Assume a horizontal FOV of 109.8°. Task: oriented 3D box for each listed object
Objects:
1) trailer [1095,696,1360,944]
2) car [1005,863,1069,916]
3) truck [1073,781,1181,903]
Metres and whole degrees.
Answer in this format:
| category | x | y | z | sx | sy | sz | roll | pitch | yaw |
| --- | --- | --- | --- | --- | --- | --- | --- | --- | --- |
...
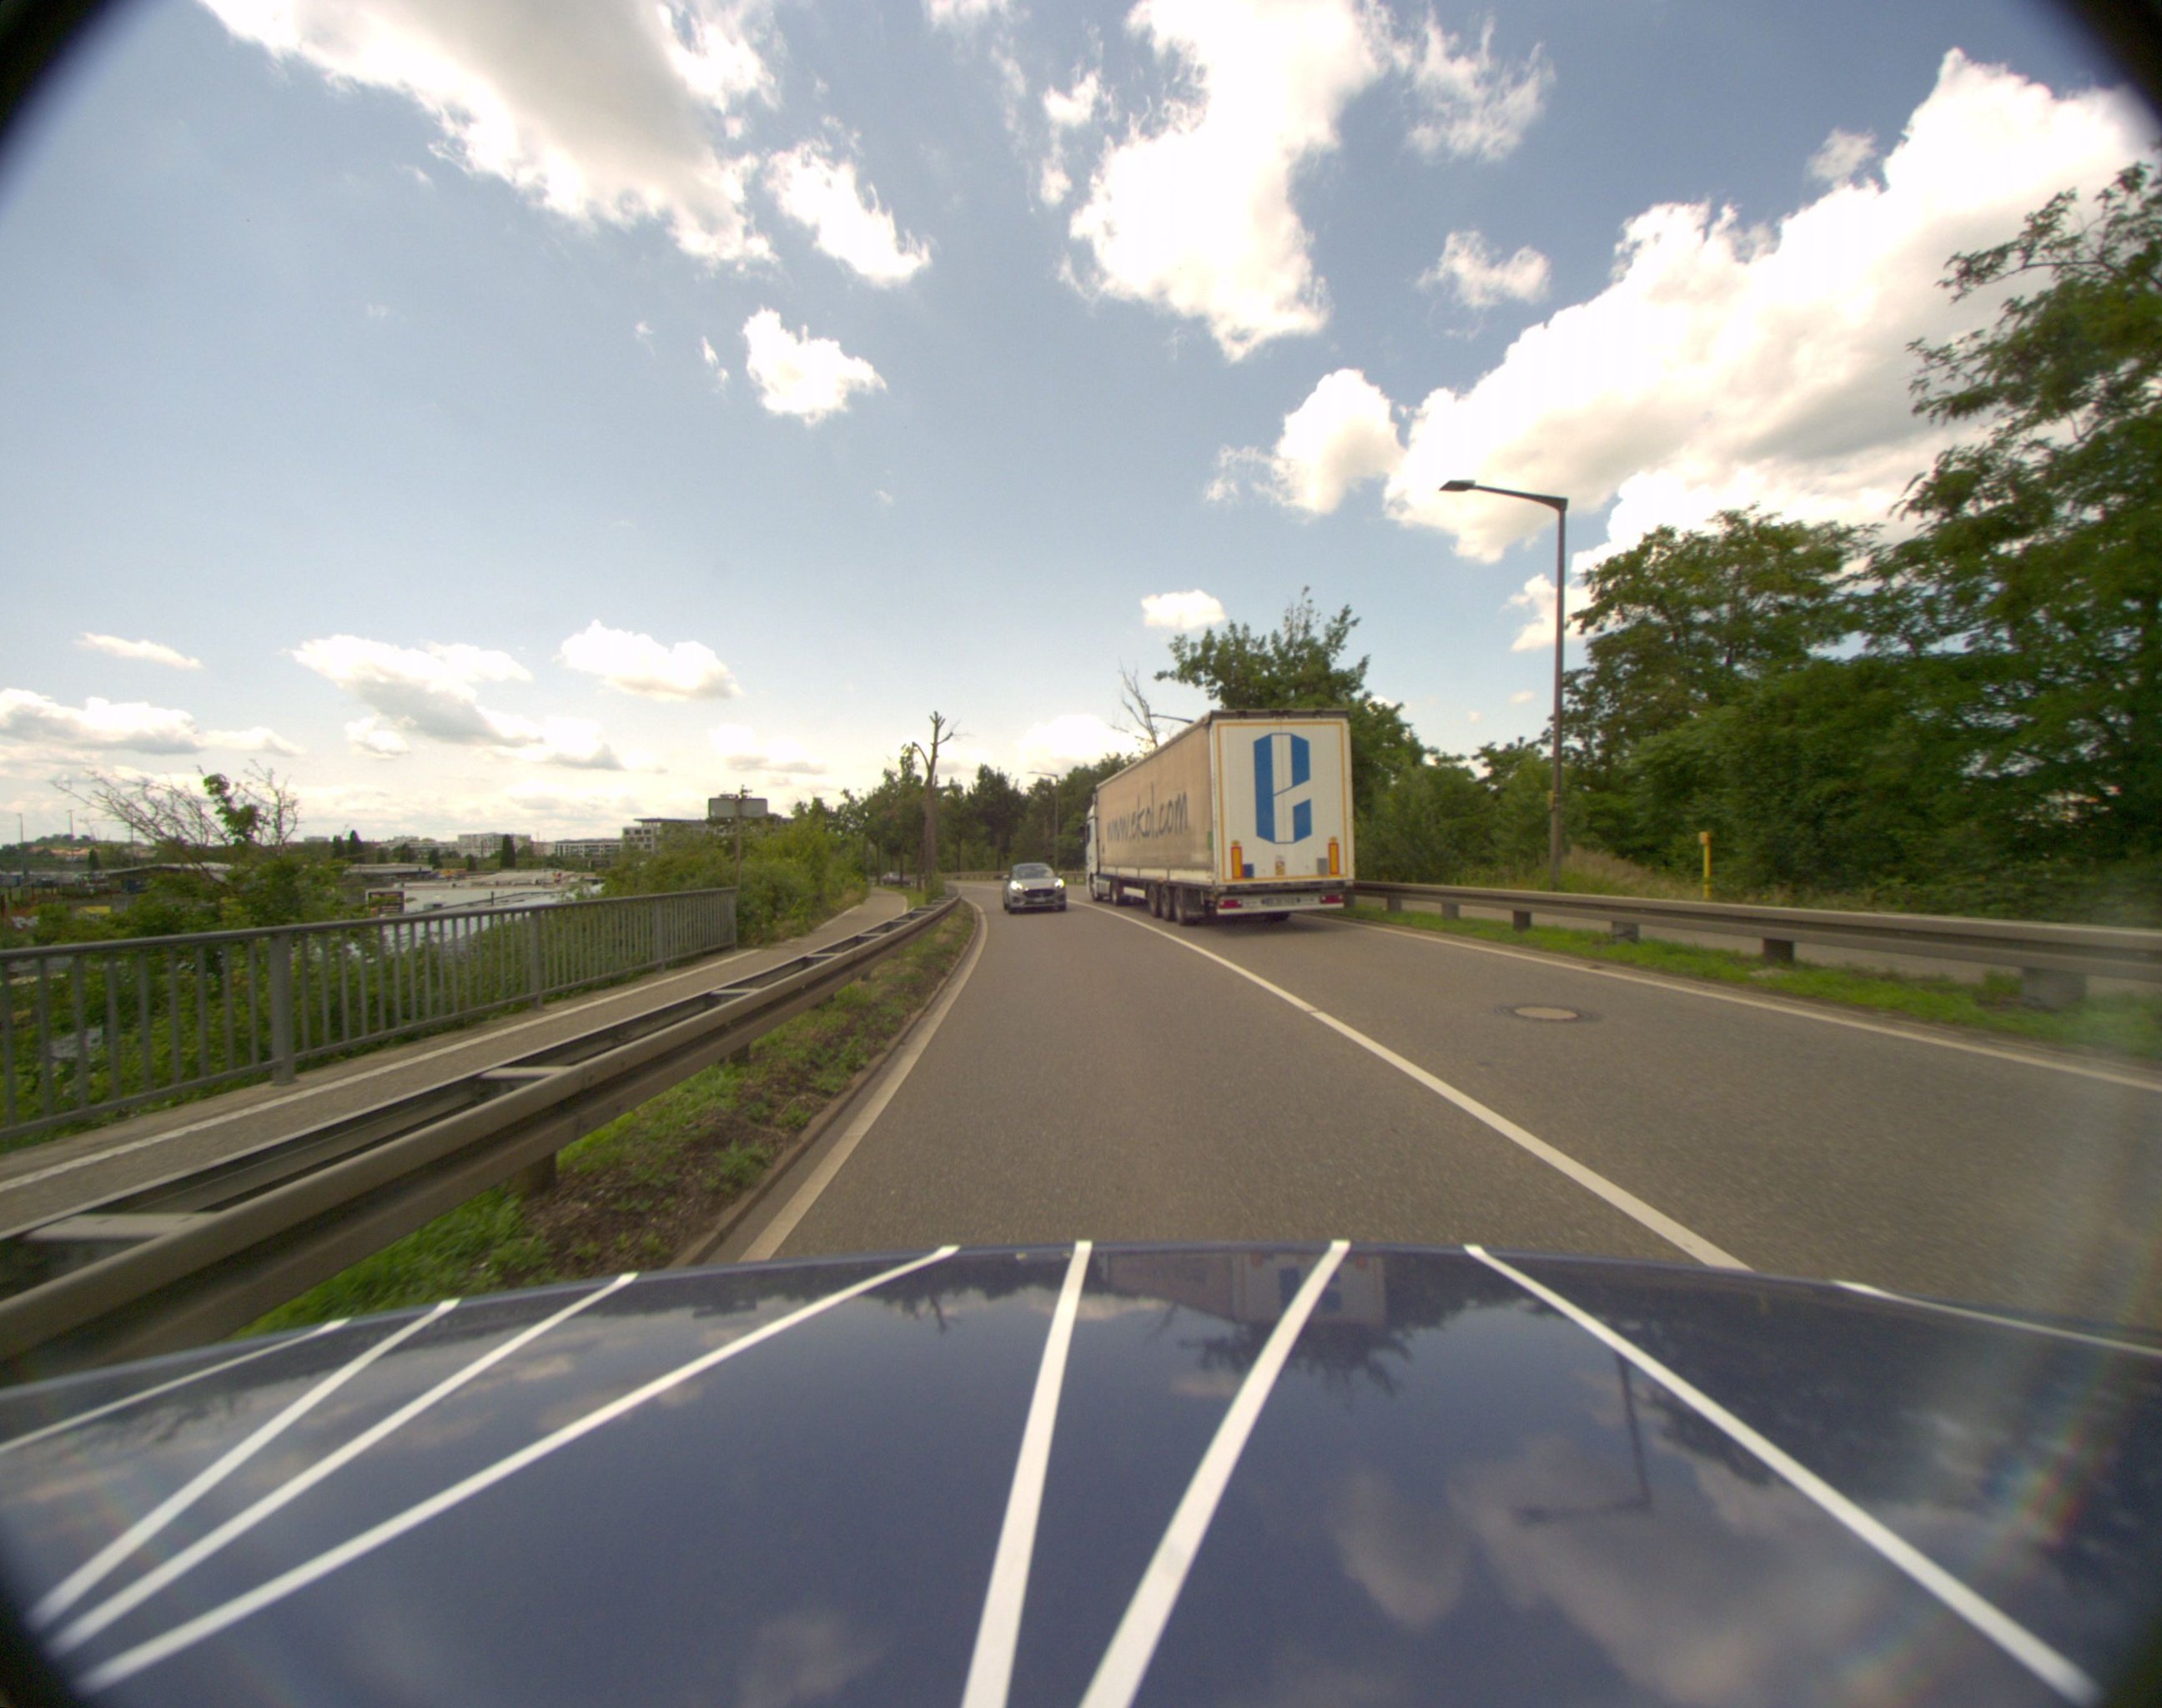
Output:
| category | x | y | z | sx | sy | sz | roll | pitch | yaw |
| --- | --- | --- | --- | --- | --- | --- | --- | --- | --- |
| trailer | 2.752 | -0.600 | 20.456 | 2.714 | 4.255 | 14.223 | -3 | 0 | -6 |
| car | -1.470 | 1.099 | 24.850 | 1.828 | 1.515 | 3.999 | -3 | -1 | -4 |
| truck | 1.585 | -0.422 | 29.207 | 2.770 | 4.110 | 5.648 | -3 | 0 | -10 |
